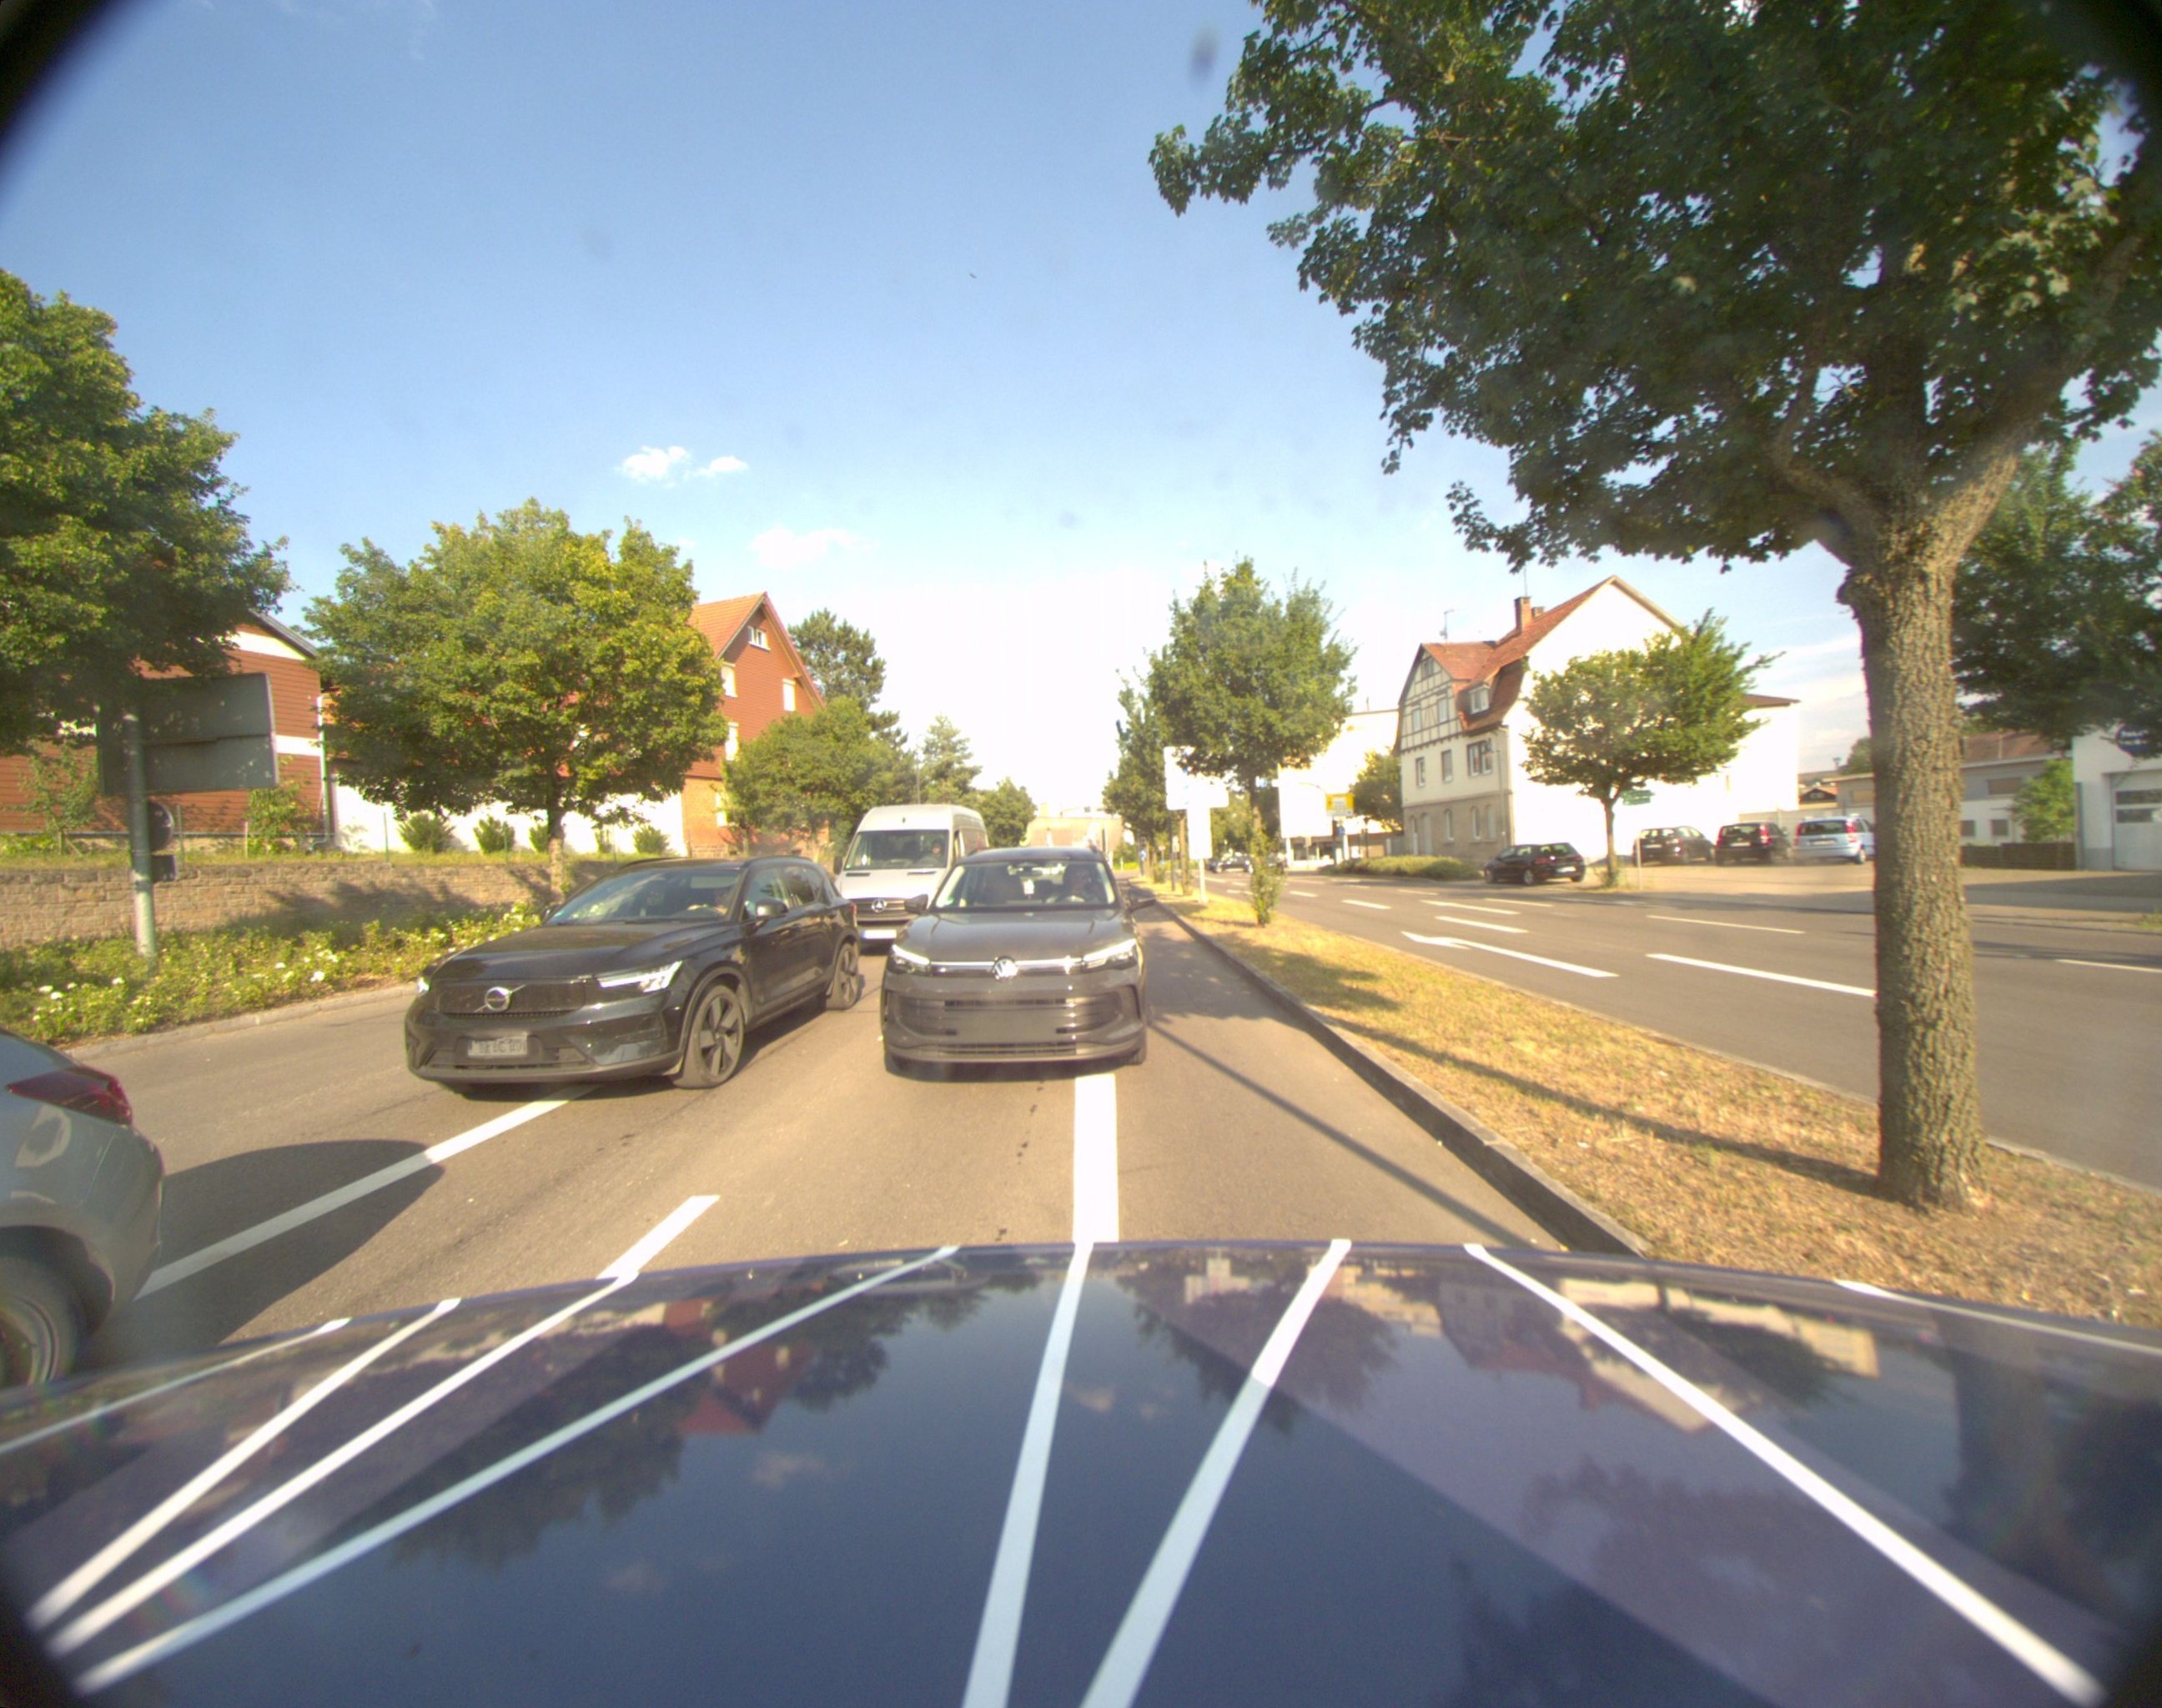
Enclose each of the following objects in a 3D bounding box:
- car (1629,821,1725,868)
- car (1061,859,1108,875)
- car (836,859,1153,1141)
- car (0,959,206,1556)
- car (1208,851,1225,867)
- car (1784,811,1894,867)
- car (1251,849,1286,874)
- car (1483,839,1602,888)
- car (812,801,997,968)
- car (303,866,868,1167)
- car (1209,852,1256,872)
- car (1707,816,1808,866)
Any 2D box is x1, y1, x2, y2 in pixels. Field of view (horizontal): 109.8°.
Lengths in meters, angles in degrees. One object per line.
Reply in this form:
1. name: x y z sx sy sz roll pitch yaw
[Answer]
1. car: 23.378 -0.387 29.764 3.830 1.493 1.816 -5 0 -35
2. car: 0.361 1.300 77.685 4.365 1.460 1.785 -2 0 19
3. car: -0.451 0.879 6.627 1.845 1.600 4.318 -1 0 2
4. car: -3.612 1.067 0.191 1.766 1.445 4.318 -1 0 0
5. car: 15.554 0.587 86.983 1.780 1.683 4.003 -2 0 11
6. car: 24.879 -0.499 24.901 3.830 1.493 1.816 -5 0 -35
7. car: 14.020 0.529 56.975 1.781 1.683 4.001 -2 0 4
8. car: 16.032 0.286 26.629 1.818 1.442 3.825 -5 0 1
9. car: -3.044 0.455 14.706 1.992 2.554 6.046 -1 0 2
10. car: -3.398 0.954 6.438 1.845 1.600 4.318 -1 0 2
11. car: 13.854 0.758 69.464 3.995 1.664 1.788 -2 1 5
12. car: 24.657 -0.485 27.667 3.830 1.493 1.816 -5 0 -35
